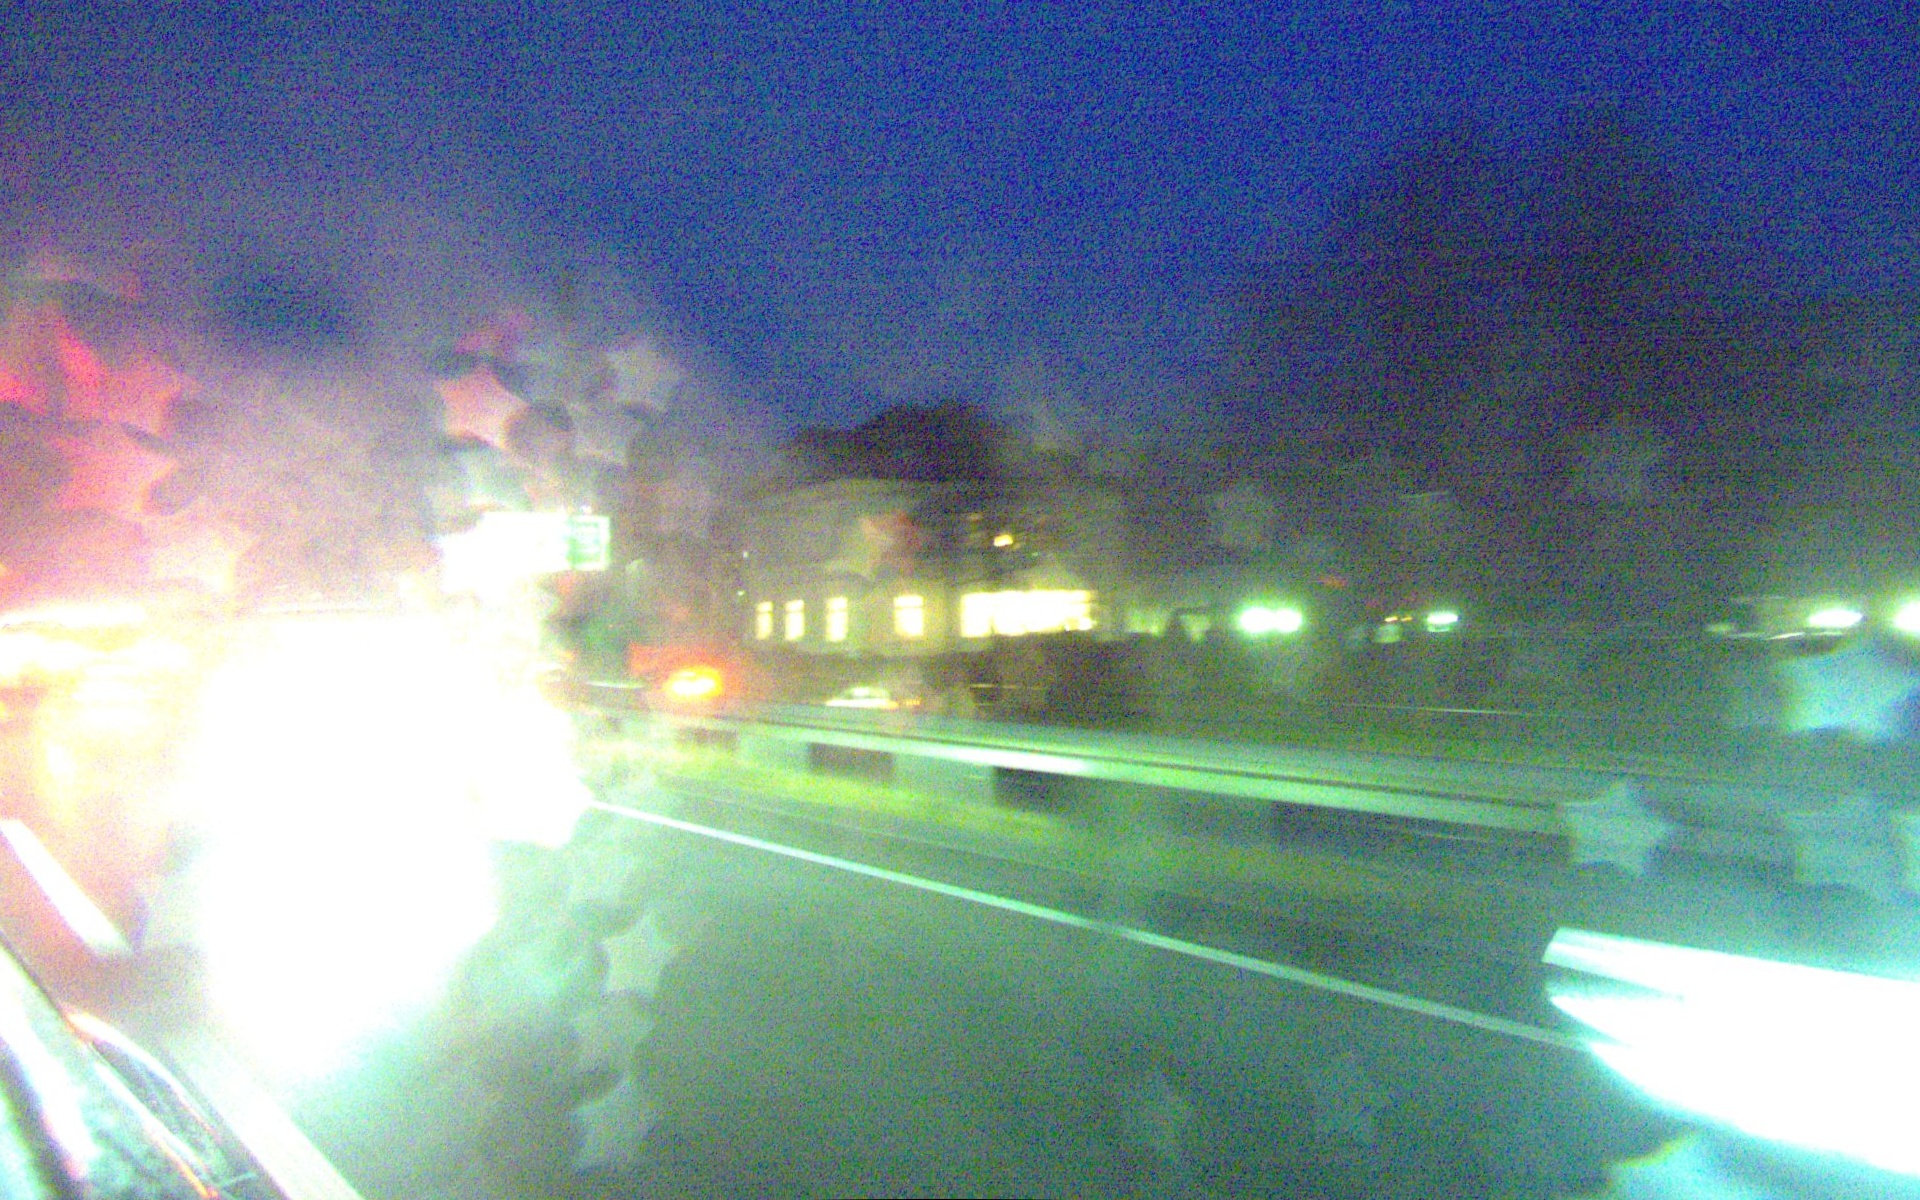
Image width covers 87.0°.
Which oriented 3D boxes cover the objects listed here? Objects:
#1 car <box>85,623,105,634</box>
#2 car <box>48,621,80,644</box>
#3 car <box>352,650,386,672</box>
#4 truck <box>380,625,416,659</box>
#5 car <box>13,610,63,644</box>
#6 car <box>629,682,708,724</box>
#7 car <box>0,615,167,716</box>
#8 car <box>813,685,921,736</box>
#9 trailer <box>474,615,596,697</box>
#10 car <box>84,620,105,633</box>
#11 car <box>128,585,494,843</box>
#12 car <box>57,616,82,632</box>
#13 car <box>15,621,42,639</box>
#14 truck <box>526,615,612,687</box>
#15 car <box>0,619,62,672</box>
[{"bbox_3d":[-130.195,4.212,152.333,1.754,1.586,4.011,0,-1,-33],"label":"car"},{"bbox_3d":[-69.872,2.530,78.883,1.787,1.688,4.297,0,-1,-43],"label":"car"},{"bbox_3d":[-50.411,5.190,86.290,1.786,1.688,4.299,0,-1,-40],"label":"car"},{"bbox_3d":[-62.855,4.624,113.114,2.719,3.509,8.126,0,-1,-34],"label":"truck"},{"bbox_3d":[-52.836,1.509,57.974,1.970,1.819,4.599,0,-1,-44],"label":"car"},{"bbox_3d":[-14.610,5.113,50.627,4.291,1.688,1.789,-1,-1,42],"label":"car"},{"bbox_3d":[-15.638,1.057,17.981,4.177,1.571,1.797,-1,-1,42],"label":"car"},{"bbox_3d":[-3.708,4.305,39.817,4.291,1.582,1.789,-1,-1,42],"label":"car"},{"bbox_3d":[-27.668,3.473,66.696,3.291,4.832,11.555,0,0,0],"label":"trailer"},{"bbox_3d":[-105.088,3.193,122.872,1.614,1.531,3.779,2,-2,-36],"label":"car"},{"bbox_3d":[-5.485,0.771,8.412,3.466,1.693,1.670,-1,-1,41],"label":"car"},{"bbox_3d":[-84.735,2.291,96.322,1.763,1.490,3.686,0,-1,-40],"label":"car"},{"bbox_3d":[-90.229,2.887,98.055,1.797,1.586,4.113,0,-1,-41],"label":"car"},{"bbox_3d":[-27.710,3.509,72.108,3.291,4.832,7.319,0,0,0],"label":"truck"},{"bbox_3d":[-31.135,1.458,33.487,4.377,1.635,1.769,-1,-1,43],"label":"car"}]
